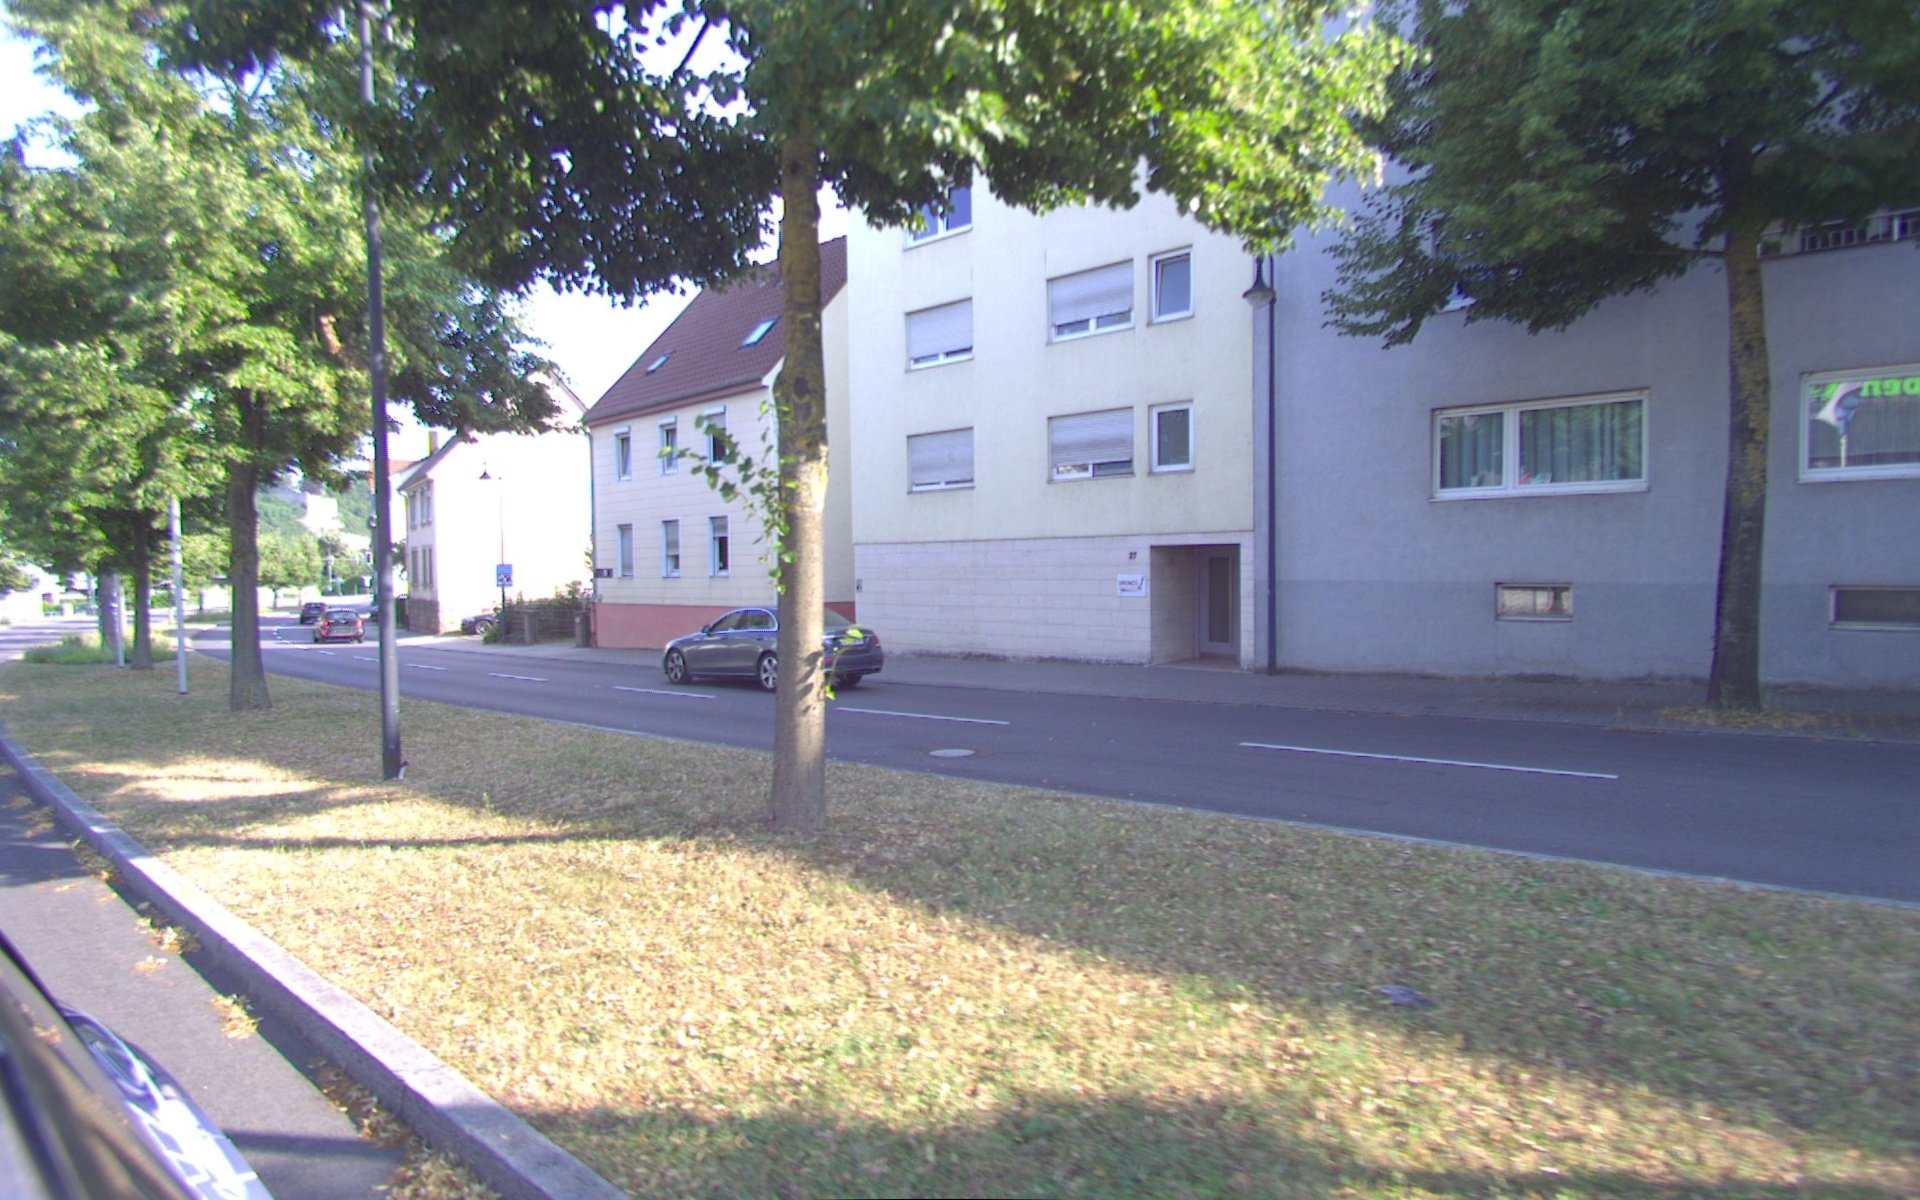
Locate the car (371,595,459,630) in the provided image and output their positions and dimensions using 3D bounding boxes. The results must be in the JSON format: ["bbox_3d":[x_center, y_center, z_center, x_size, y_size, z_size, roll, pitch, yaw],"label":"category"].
[{"bbox_3d":[-34.407,0.752,63.920,4.758,1.891,2.006,-4,2,-31],"label":"car"}]

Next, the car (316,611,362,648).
[{"bbox_3d":[-26.948,1.233,43.878,1.584,1.497,3.794,0,0,-33],"label":"car"}]

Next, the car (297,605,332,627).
[{"bbox_3d":[-45.741,1.106,71.642,1.914,1.497,4.335,0,0,-35],"label":"car"}]

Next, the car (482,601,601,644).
[{"bbox_3d":[-16.906,0.884,40.893,4.285,1.497,1.953,-2,1,-25],"label":"car"}]

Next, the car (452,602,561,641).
[{"bbox_3d":[-20.100,0.904,44.844,4.285,1.497,2.018,-2,1,-27],"label":"car"}]

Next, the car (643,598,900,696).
[{"bbox_3d":[-3.475,0.747,17.988,4.994,1.497,1.833,-1,0,42],"label":"car"}]
